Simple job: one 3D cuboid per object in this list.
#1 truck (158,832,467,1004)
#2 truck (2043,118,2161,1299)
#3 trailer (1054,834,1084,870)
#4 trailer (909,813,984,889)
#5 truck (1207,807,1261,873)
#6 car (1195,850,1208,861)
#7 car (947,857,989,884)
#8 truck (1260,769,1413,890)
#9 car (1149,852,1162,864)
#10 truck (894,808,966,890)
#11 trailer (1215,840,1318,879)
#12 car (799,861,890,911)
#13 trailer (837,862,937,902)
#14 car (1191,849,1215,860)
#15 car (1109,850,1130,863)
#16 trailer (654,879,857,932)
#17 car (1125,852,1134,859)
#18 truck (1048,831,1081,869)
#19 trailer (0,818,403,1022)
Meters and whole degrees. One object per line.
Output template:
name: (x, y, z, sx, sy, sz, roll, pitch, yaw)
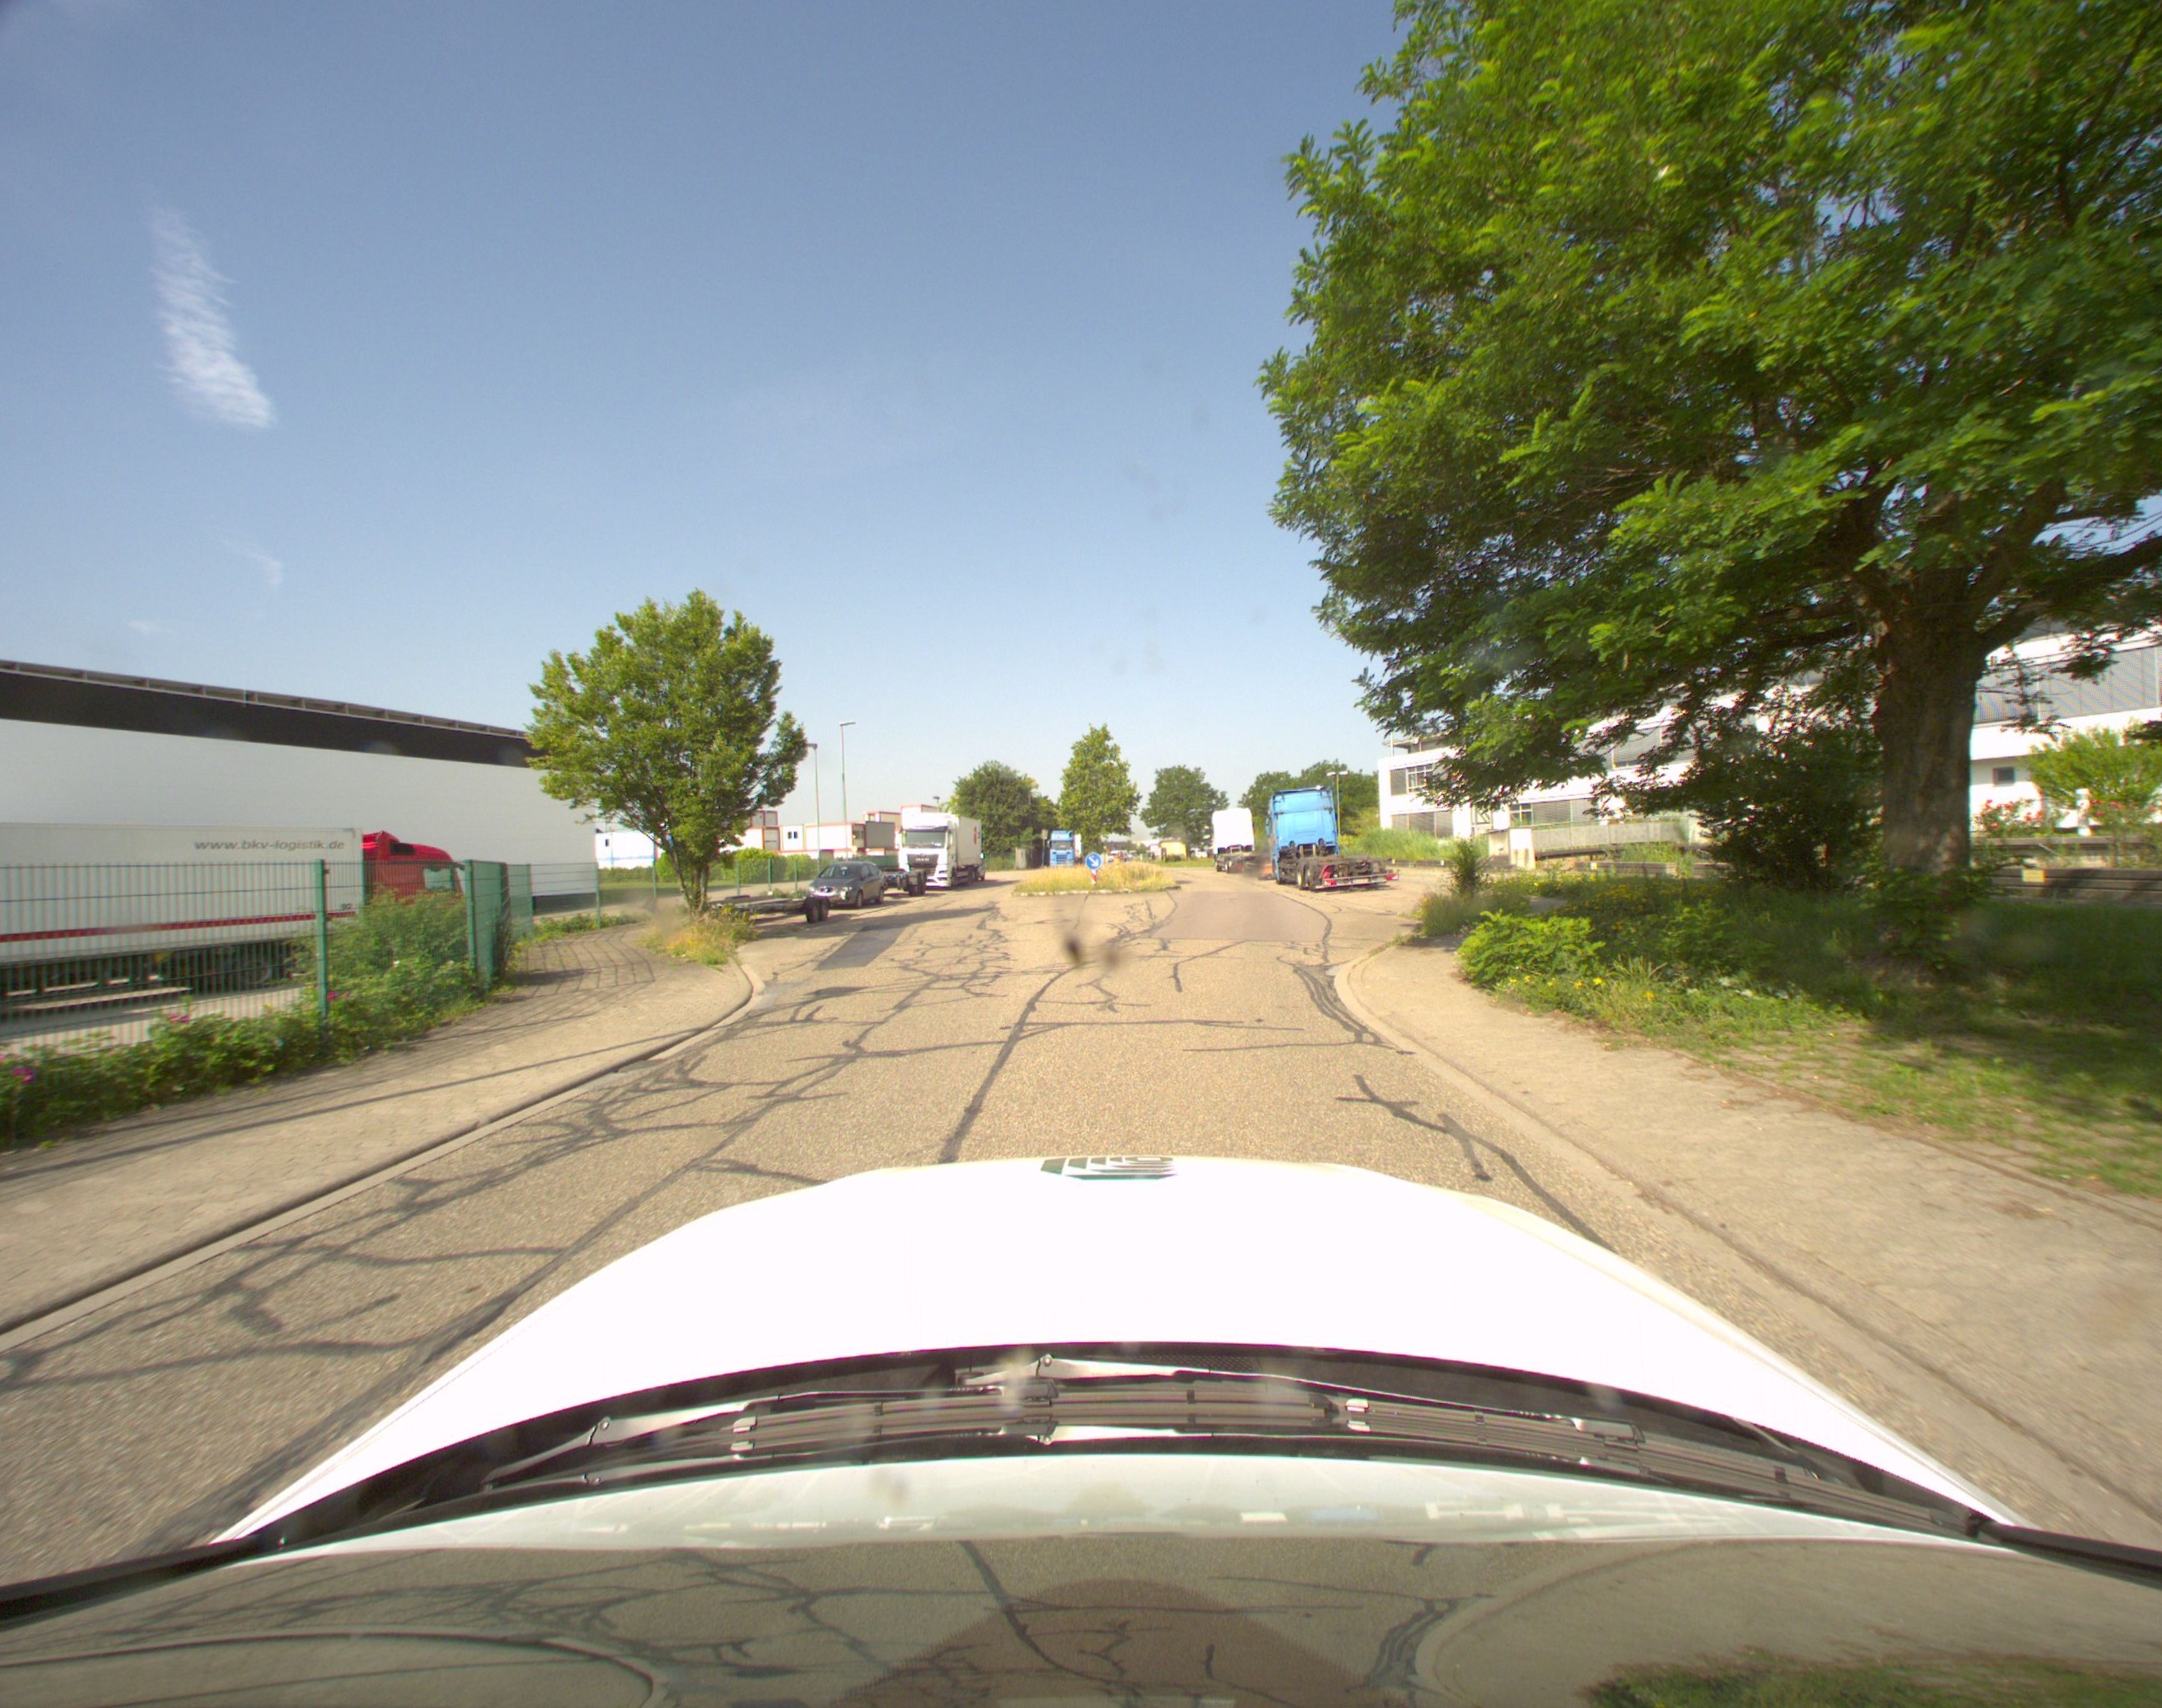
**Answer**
truck: (-20.632, 1.579, 22.329, 2.493, 4.071, 5.568, -1, -1, 18)
truck: (7.145, -0.597, 1.084, 8.178, 3.370, 2.742, -3, -1, 1)
trailer: (-1.277, -0.128, 94.360, 2.820, 3.843, 12.042, 0, -1, 2)
trailer: (-7.382, -0.098, 45.755, 2.689, 3.922, 7.578, 0, -1, 2)
truck: (10.148, -0.883, 54.320, 2.735, 3.981, 4.003, -5, -1, 3)
car: (17.320, 0.224, 117.010, 1.709, 1.618, 4.006, 0, -1, 6)
car: (-7.241, 1.024, 52.620, 1.987, 1.641, 4.588, -1, 0, 1)
truck: (9.057, -0.682, 30.377, 2.876, 3.535, 9.763, -6, -1, 3)
car: (11.517, 0.649, 125.851, 1.785, 1.750, 4.001, 0, -1, 2)
truck: (-7.550, -0.183, 41.321, 2.698, 3.922, 4.298, 0, -1, 2)
trailer: (9.794, 0.267, 45.252, 2.735, 1.574, 16.183, -4, 0, 3)
car: (-8.136, 1.054, 28.447, 1.689, 1.561, 4.339, 0, 0, 3)
trailer: (-8.117, 1.145, 34.685, 2.669, 1.453, 5.082, -1, 0, 4)
car: (14.947, 0.084, 100.043, 1.670, 1.330, 3.646, 0, -1, -14)
car: (8.543, 0.518, 181.959, 1.974, 2.734, 5.824, -1, -2, 34)
trailer: (-8.280, 1.275, 21.776, 2.537, 0.925, 6.712, 1, 0, 2)
car: (13.590, 0.510, 226.621, 1.769, 1.815, 3.990, 0, -1, -7)
truck: (-1.637, -0.302, 85.742, 2.814, 3.826, 9.677, 0, -1, 2)
trailer: (-22.497, 1.314, 16.678, 2.462, 4.042, 13.953, -1, -1, 18)
